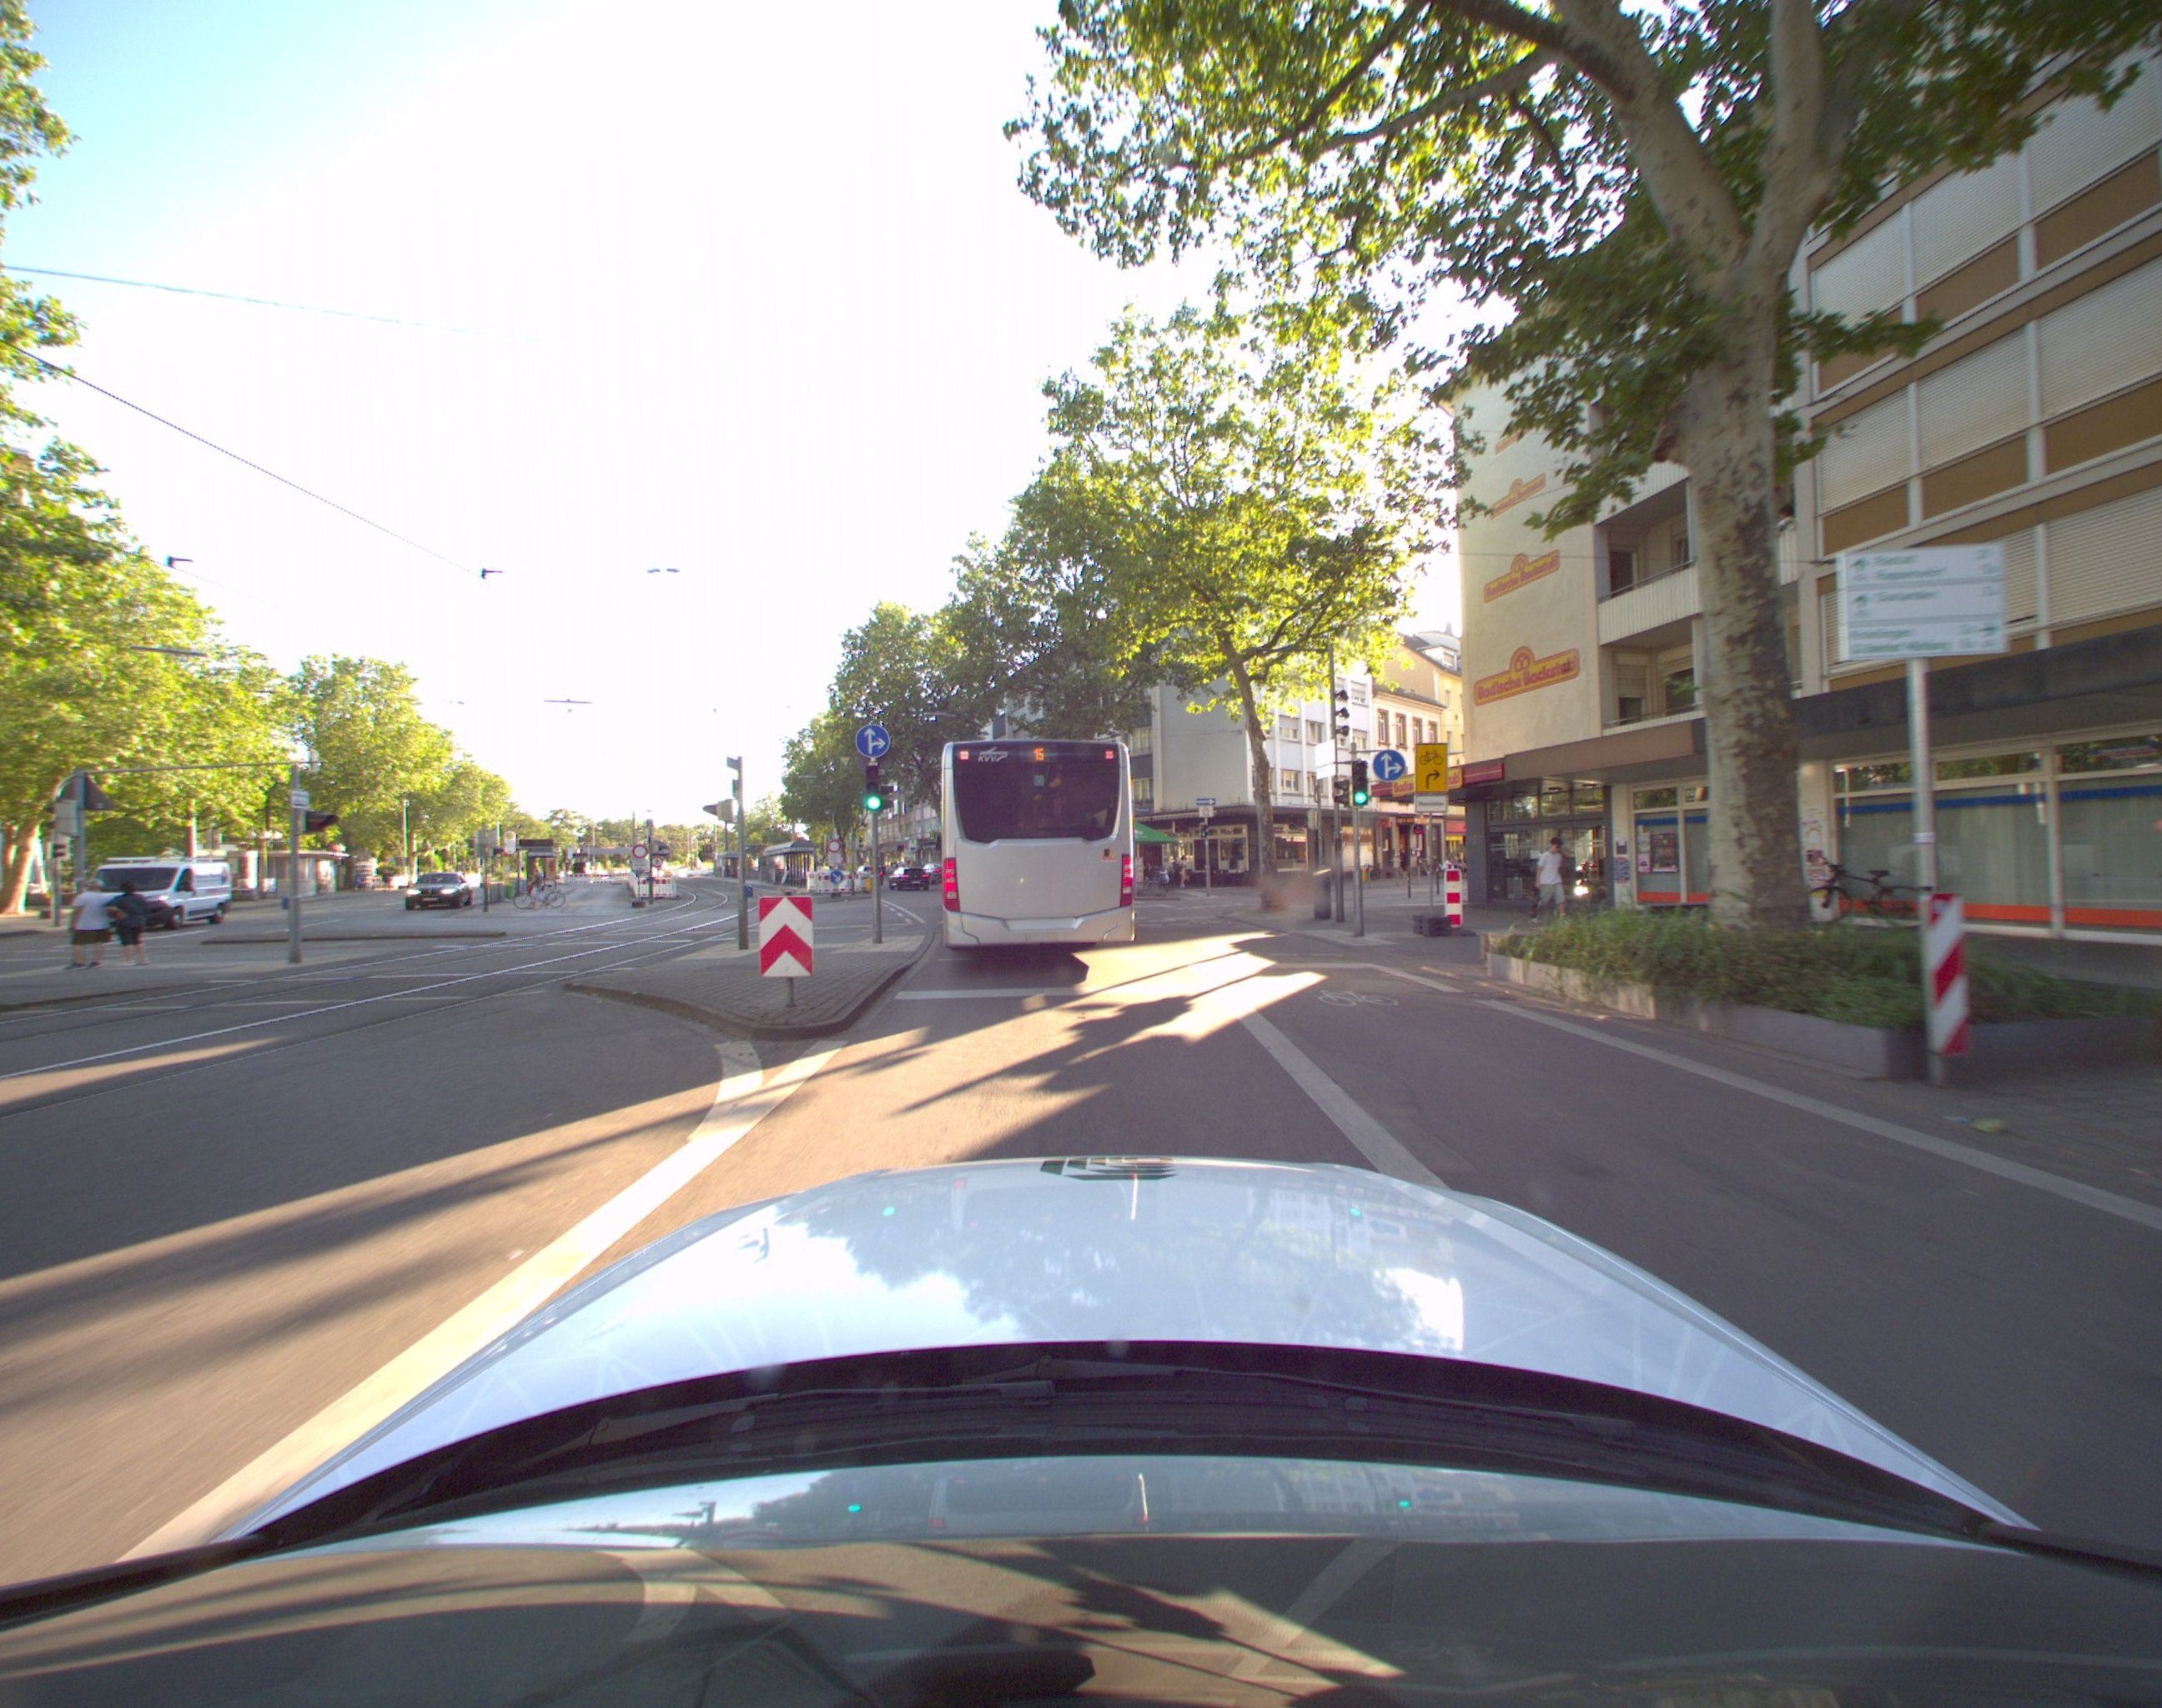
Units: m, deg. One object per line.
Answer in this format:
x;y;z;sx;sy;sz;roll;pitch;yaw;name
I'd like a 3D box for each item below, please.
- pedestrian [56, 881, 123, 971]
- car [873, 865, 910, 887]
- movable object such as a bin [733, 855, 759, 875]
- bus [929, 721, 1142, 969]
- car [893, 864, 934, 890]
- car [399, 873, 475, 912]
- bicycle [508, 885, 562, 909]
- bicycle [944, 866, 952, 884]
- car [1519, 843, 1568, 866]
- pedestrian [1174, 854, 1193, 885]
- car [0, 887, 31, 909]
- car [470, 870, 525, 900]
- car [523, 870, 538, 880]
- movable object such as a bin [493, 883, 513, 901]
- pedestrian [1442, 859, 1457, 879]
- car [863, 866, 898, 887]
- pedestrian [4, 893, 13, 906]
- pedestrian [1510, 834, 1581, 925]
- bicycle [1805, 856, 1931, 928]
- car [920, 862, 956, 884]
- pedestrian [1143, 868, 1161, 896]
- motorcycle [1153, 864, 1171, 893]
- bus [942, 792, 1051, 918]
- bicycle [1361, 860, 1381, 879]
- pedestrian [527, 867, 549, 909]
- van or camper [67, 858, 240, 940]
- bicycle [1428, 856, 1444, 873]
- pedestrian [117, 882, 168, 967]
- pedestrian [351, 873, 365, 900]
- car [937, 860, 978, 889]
-17.323;1.236;14.239;0.522;1.504;0.589;-1;-1;-23;pedestrian
-13.271;1.515;56.879;1.764;1.464;3.968;-1;-1;-23;car
-44.068;1.444;107.018;2.509;2.477;5.304;-1;-1;-30;movable object such as a bin
-1.302;-0.062;15.430;2.657;3.099;10.184;-1;-1;-9;bus
-9.986;1.332;48.414;1.762;1.464;3.972;-1;-1;-20;car
-28.810;1.668;36.583;1.896;1.585;4.169;-1;-1;-27;car
-23.410;1.827;34.944;1.852;0.942;0.459;-1;-1;-31;bicycle
-9.437;1.486;57.766;0.507;1.211;2.086;-1;0;-9;bicycle
31.755;0.000;55.866;4.022;1.495;1.820;-2;1;-43;car
5.132;0.758;40.743;0.607;1.548;0.708;1;-1;-42;pedestrian
-88.027;3.593;66.757;3.950;1.565;2.012;0;-1;43;car
-32.970;1.710;46.102;1.896;1.531;4.169;-1;-1;-27;car
-92.477;3.523;136.749;1.898;1.531;4.165;-1;-1;-31;car
-28.152;1.849;39.673;0.674;0.866;0.696;1;-1;-27;movable object such as a bin
22.504;0.908;49.747;0.550;1.243;0.730;1;-1;-8;pedestrian
-14.919;1.668;60.507;1.765;1.464;3.966;-1;-1;-25;car
-87.003;3.702;66.076;0.383;1.072;0.395;-2;-1;41;pedestrian
9.139;0.490;16.057;0.836;1.712;0.790;-3;0;-13;pedestrian
12.764;0.592;13.261;0.437;1.092;1.457;-4;0;-8;bicycle
-10.735;1.396;61.176;1.671;1.468;3.383;-5;1;-27;car
3.196;1.255;36.604;0.553;1.243;0.727;1;-1;-23;pedestrian
3.304;1.007;33.309;0.568;1.158;1.460;0;-1;0;motorcycle
-2.969;0.090;25.455;2.658;3.099;10.180;-1;-1;-10;bus
16.807;0.903;47.156;1.728;1.041;0.291;0;-3;-44;bicycle
-23.092;1.434;34.614;0.724;1.725;0.395;-1;-1;-31;pedestrian
-30.312;1.389;26.870;2.181;2.319;5.054;-3;0;-30;van or camper
23.273;0.673;53.351;1.728;1.040;0.291;-4;-1;-44;bicycle
-17.079;1.269;14.828;0.410;1.504;0.513;-1;-1;-23;pedestrian
-55.263;2.481;62.241;0.713;2.014;0.735;-1;-1;-36;pedestrian
-7.464;1.214;48.953;1.765;1.628;3.587;-1;-1;-20;car
